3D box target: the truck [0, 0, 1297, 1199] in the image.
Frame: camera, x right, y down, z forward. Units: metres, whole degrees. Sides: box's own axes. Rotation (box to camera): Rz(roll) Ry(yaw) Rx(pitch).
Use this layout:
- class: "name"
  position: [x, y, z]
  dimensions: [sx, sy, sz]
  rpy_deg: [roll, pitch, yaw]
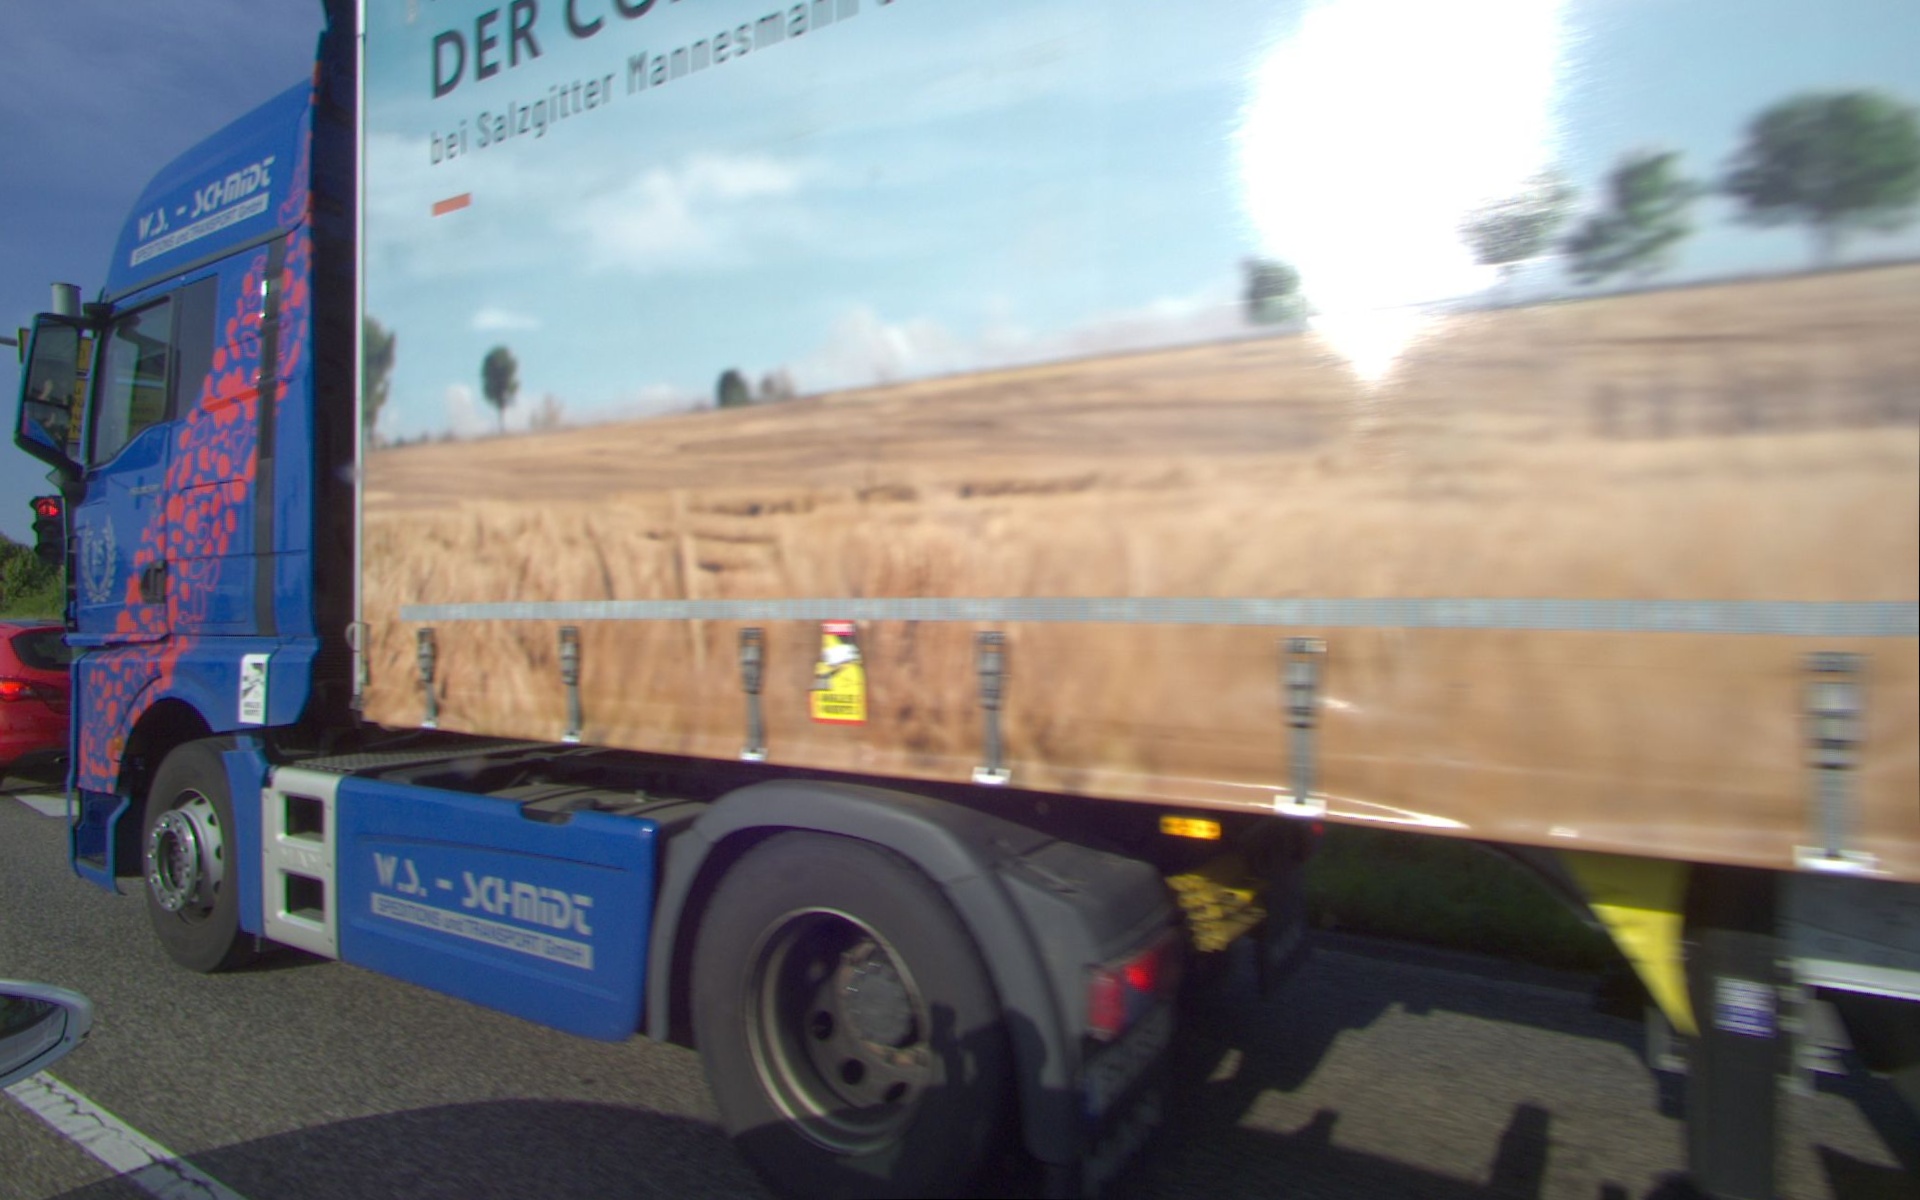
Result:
- class: "truck"
  position: [-1.620, -0.745, 4.858]
  dimensions: [5.647, 4.718, 3.296]
  rpy_deg: [-1, -1, 31]

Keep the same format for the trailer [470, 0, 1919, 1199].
- class: "trailer"
  position: [5.010, -0.857, 0.948]
  dimensions: [12.952, 4.741, 3.277]
  rpy_deg: [-1, -1, 31]

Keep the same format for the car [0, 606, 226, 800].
- class: "car"
  position: [-8.962, 0.847, 9.700]
  dimensions: [3.695, 1.570, 1.694]
  rpy_deg: [0, 0, 31]
